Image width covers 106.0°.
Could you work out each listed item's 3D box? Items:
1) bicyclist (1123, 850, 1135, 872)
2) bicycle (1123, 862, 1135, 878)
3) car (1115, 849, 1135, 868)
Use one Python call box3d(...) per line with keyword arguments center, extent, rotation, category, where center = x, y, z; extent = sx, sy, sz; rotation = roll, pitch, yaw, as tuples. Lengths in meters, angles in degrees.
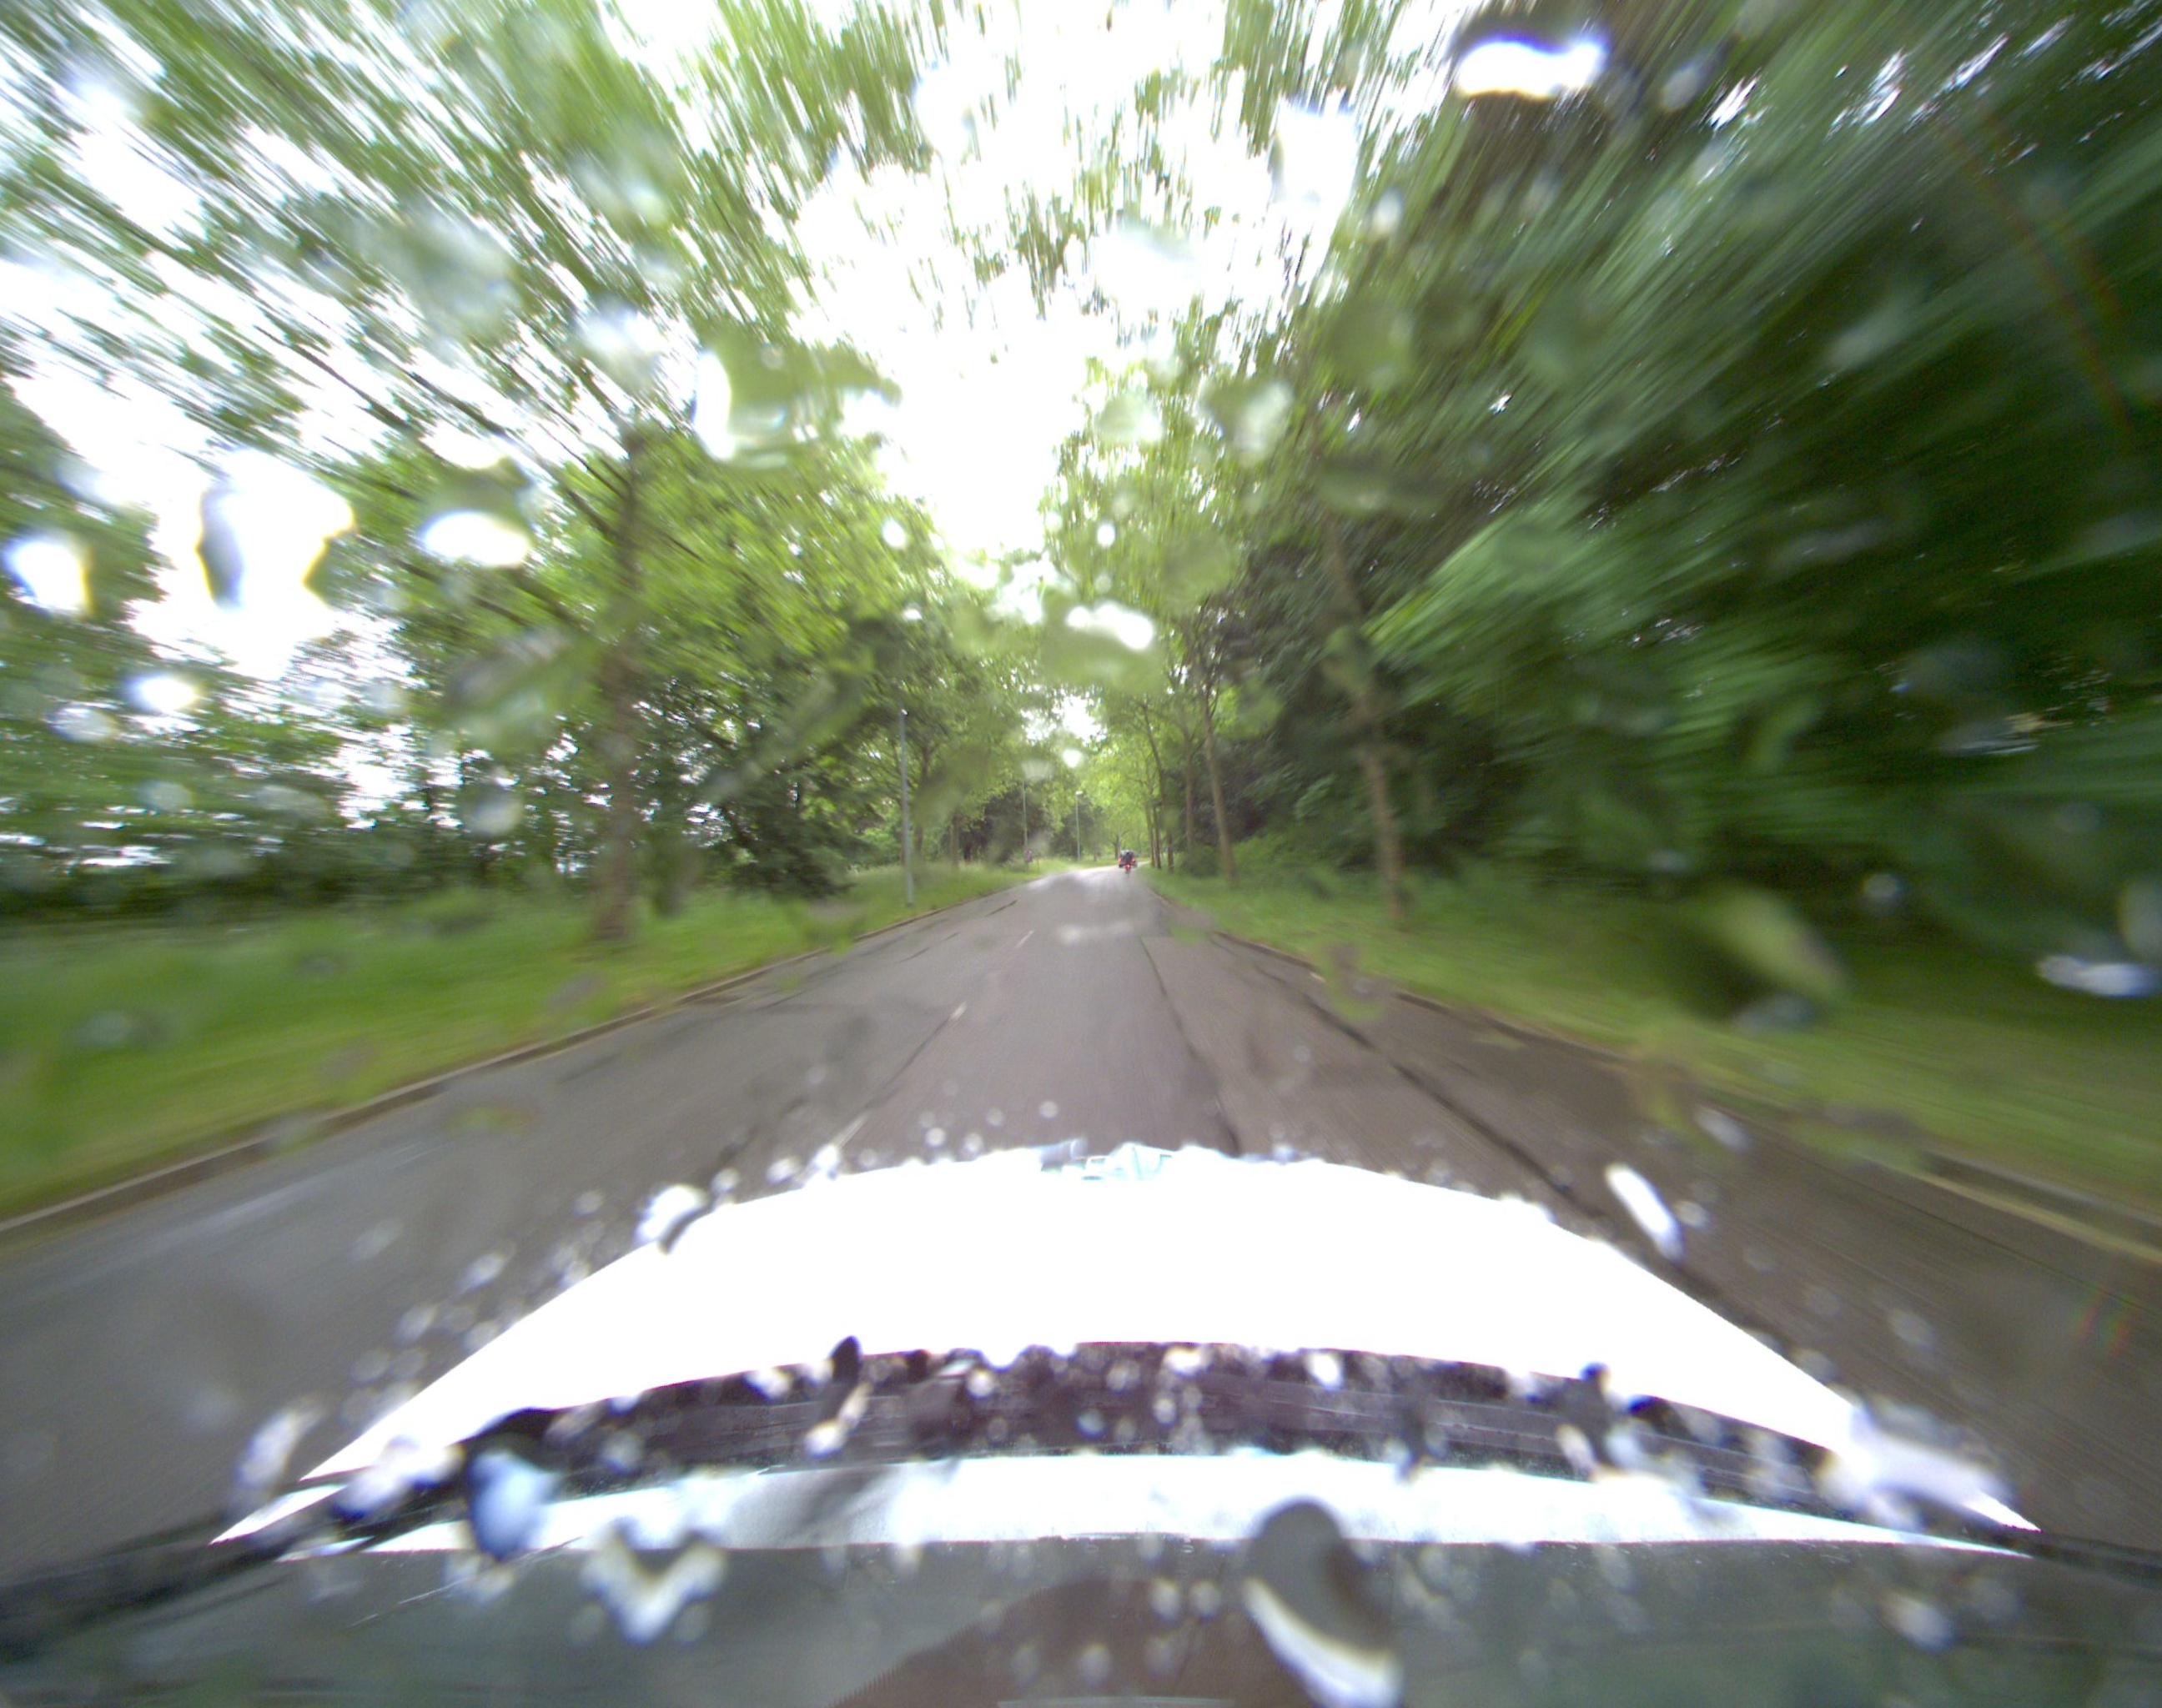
box3d(center=(3.167, 0.474, 53.757), extent=(0.726, 1.411, 0.974), rotation=(-1, 0, 5), category="bicyclist")
box3d(center=(3.201, 1.051, 54.012), extent=(0.726, 0.974, 2.176), rotation=(-1, 0, 5), category="bicycle")
box3d(center=(4.735, 0.506, 86.571), extent=(1.977, 1.926, 4.004), rotation=(-2, 0, 4), category="car")
